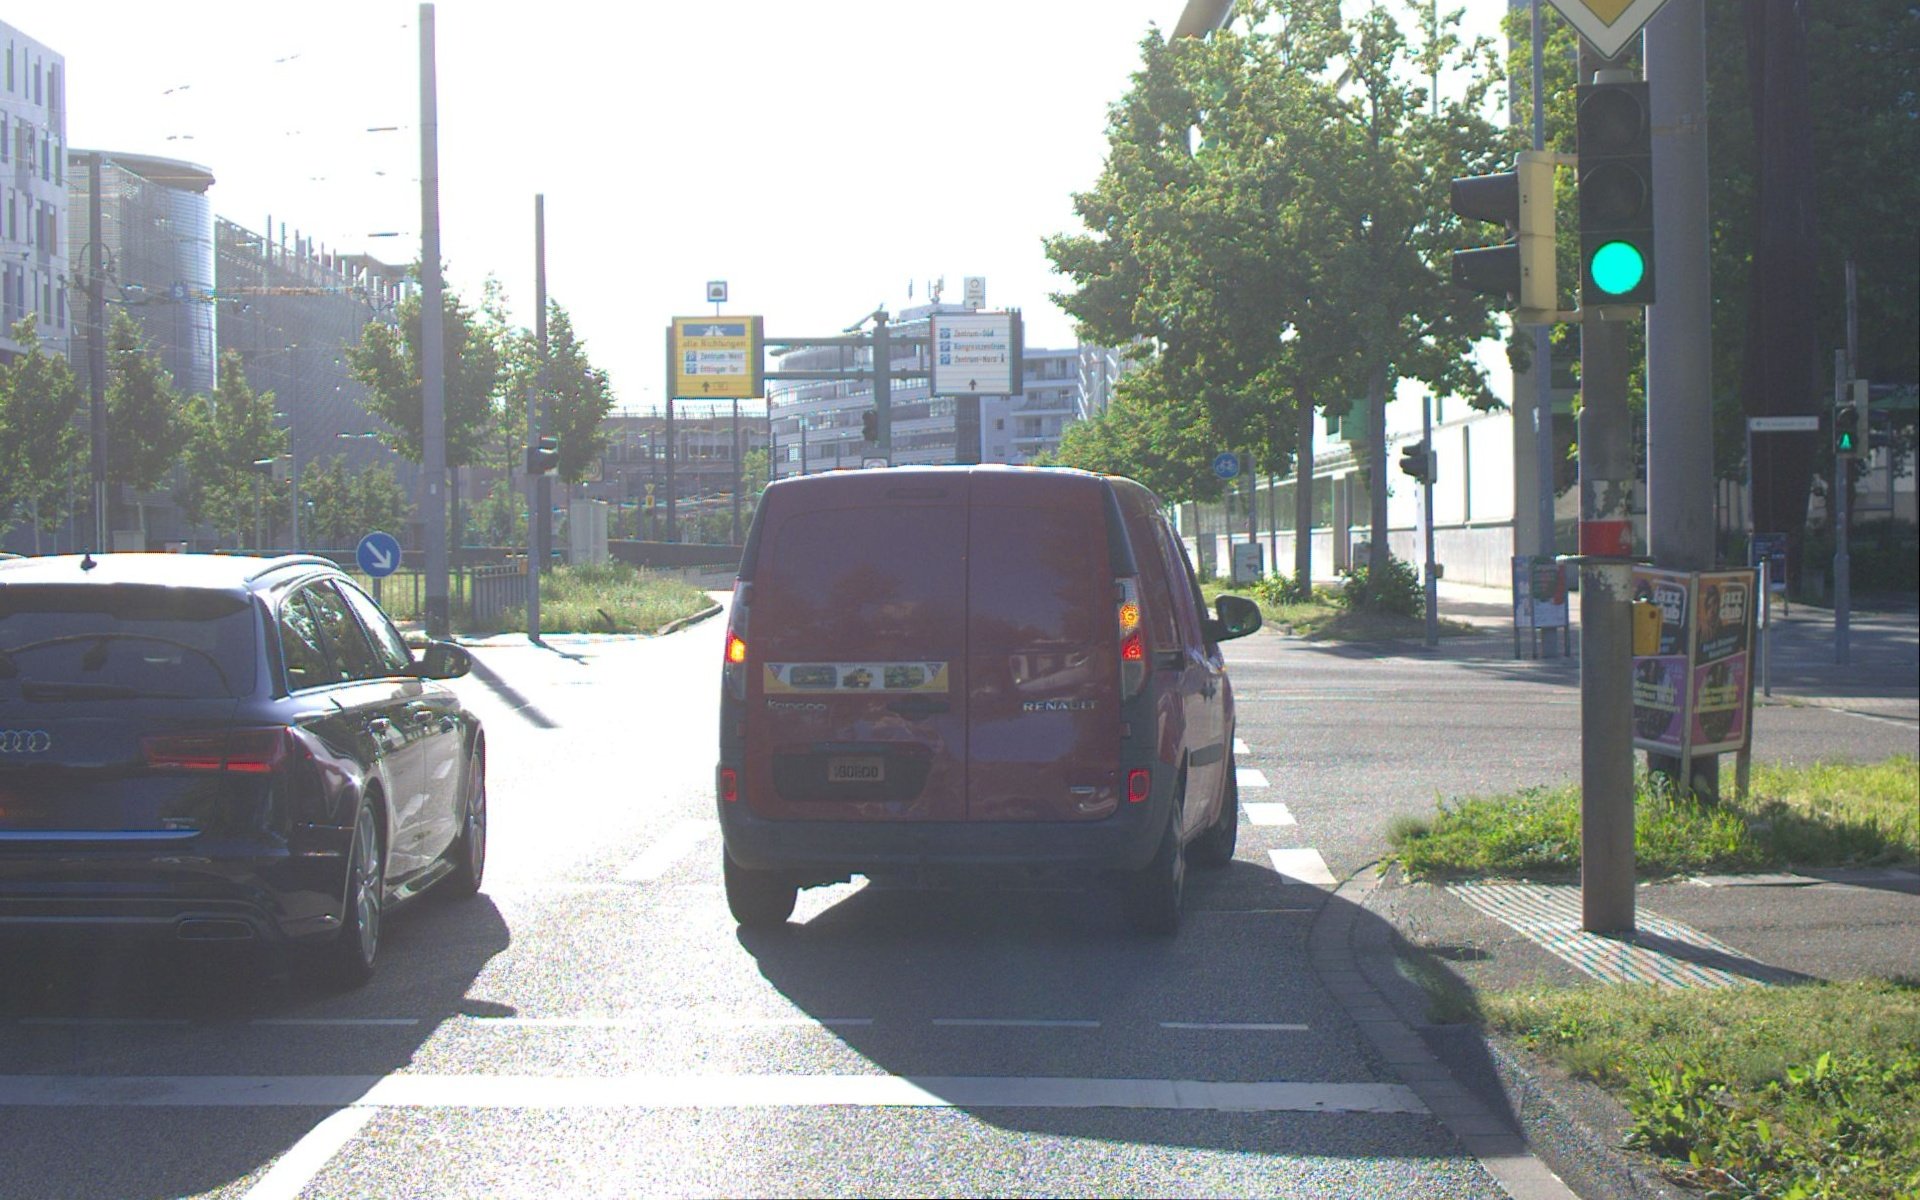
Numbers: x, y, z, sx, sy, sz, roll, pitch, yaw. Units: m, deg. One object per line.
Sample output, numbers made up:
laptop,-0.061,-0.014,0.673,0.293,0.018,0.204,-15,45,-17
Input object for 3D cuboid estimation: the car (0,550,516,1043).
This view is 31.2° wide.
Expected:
car,-2.836,0.552,12.605,1.812,1.422,4.690,1,1,0

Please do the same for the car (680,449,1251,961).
car,0.180,0.341,14.484,1.849,1.808,4.113,1,1,8
